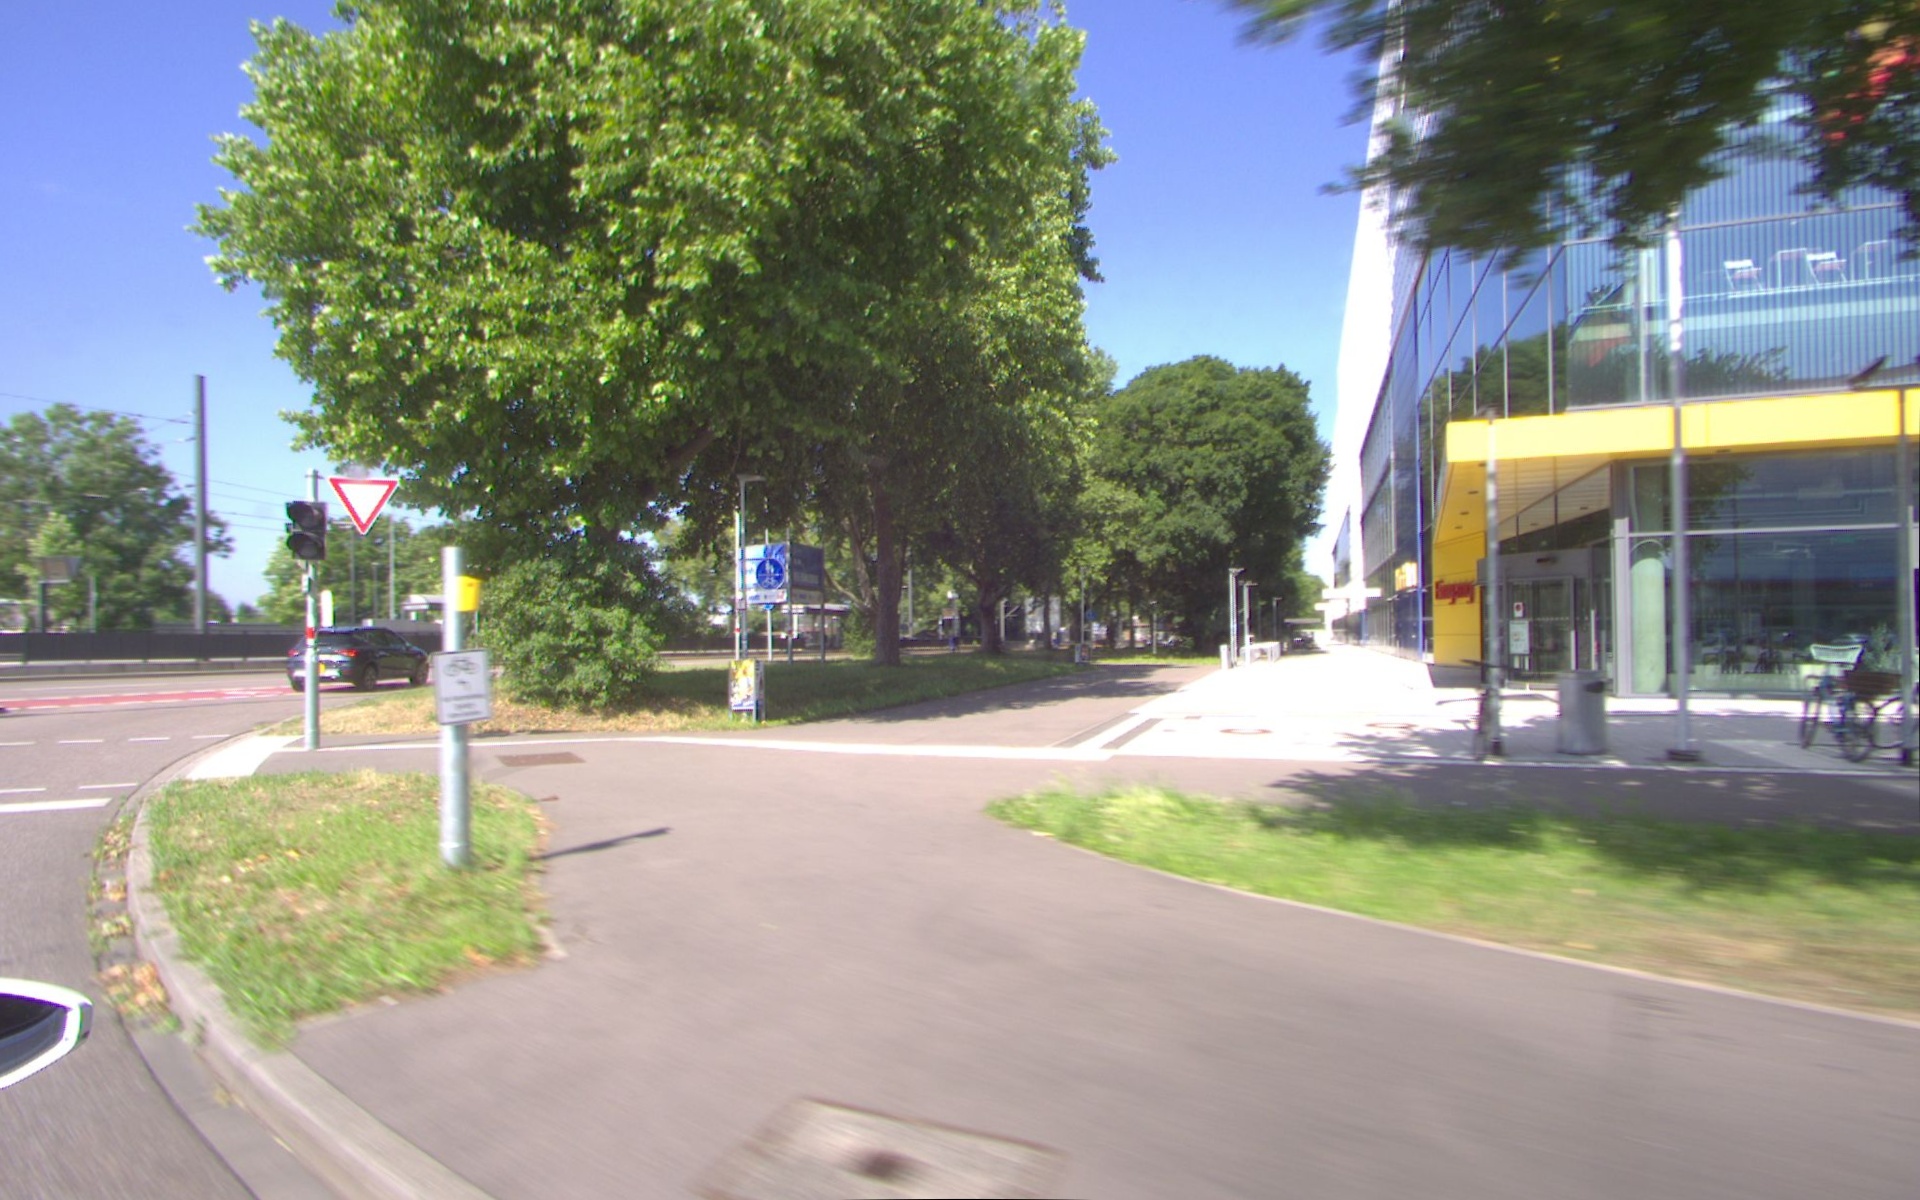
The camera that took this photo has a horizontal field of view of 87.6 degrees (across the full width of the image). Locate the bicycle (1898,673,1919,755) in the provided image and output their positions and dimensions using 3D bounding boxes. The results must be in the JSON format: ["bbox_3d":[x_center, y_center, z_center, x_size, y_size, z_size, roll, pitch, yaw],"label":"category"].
[{"bbox_3d":[11.143,1.307,11.202,0.426,0.921,1.563,0,-2,23],"label":"bicycle"}]

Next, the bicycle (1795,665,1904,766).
[{"bbox_3d":[10.008,1.265,11.312,0.426,1.008,1.563,0,-2,23],"label":"bicycle"}]

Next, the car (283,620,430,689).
[{"bbox_3d":[-14.707,1.327,24.611,1.643,1.542,3.379,1,-3,-2],"label":"car"}]

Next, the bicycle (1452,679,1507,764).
[{"bbox_3d":[6.208,1.414,12.014,0.426,0.854,1.830,0,-2,23],"label":"bicycle"}]
